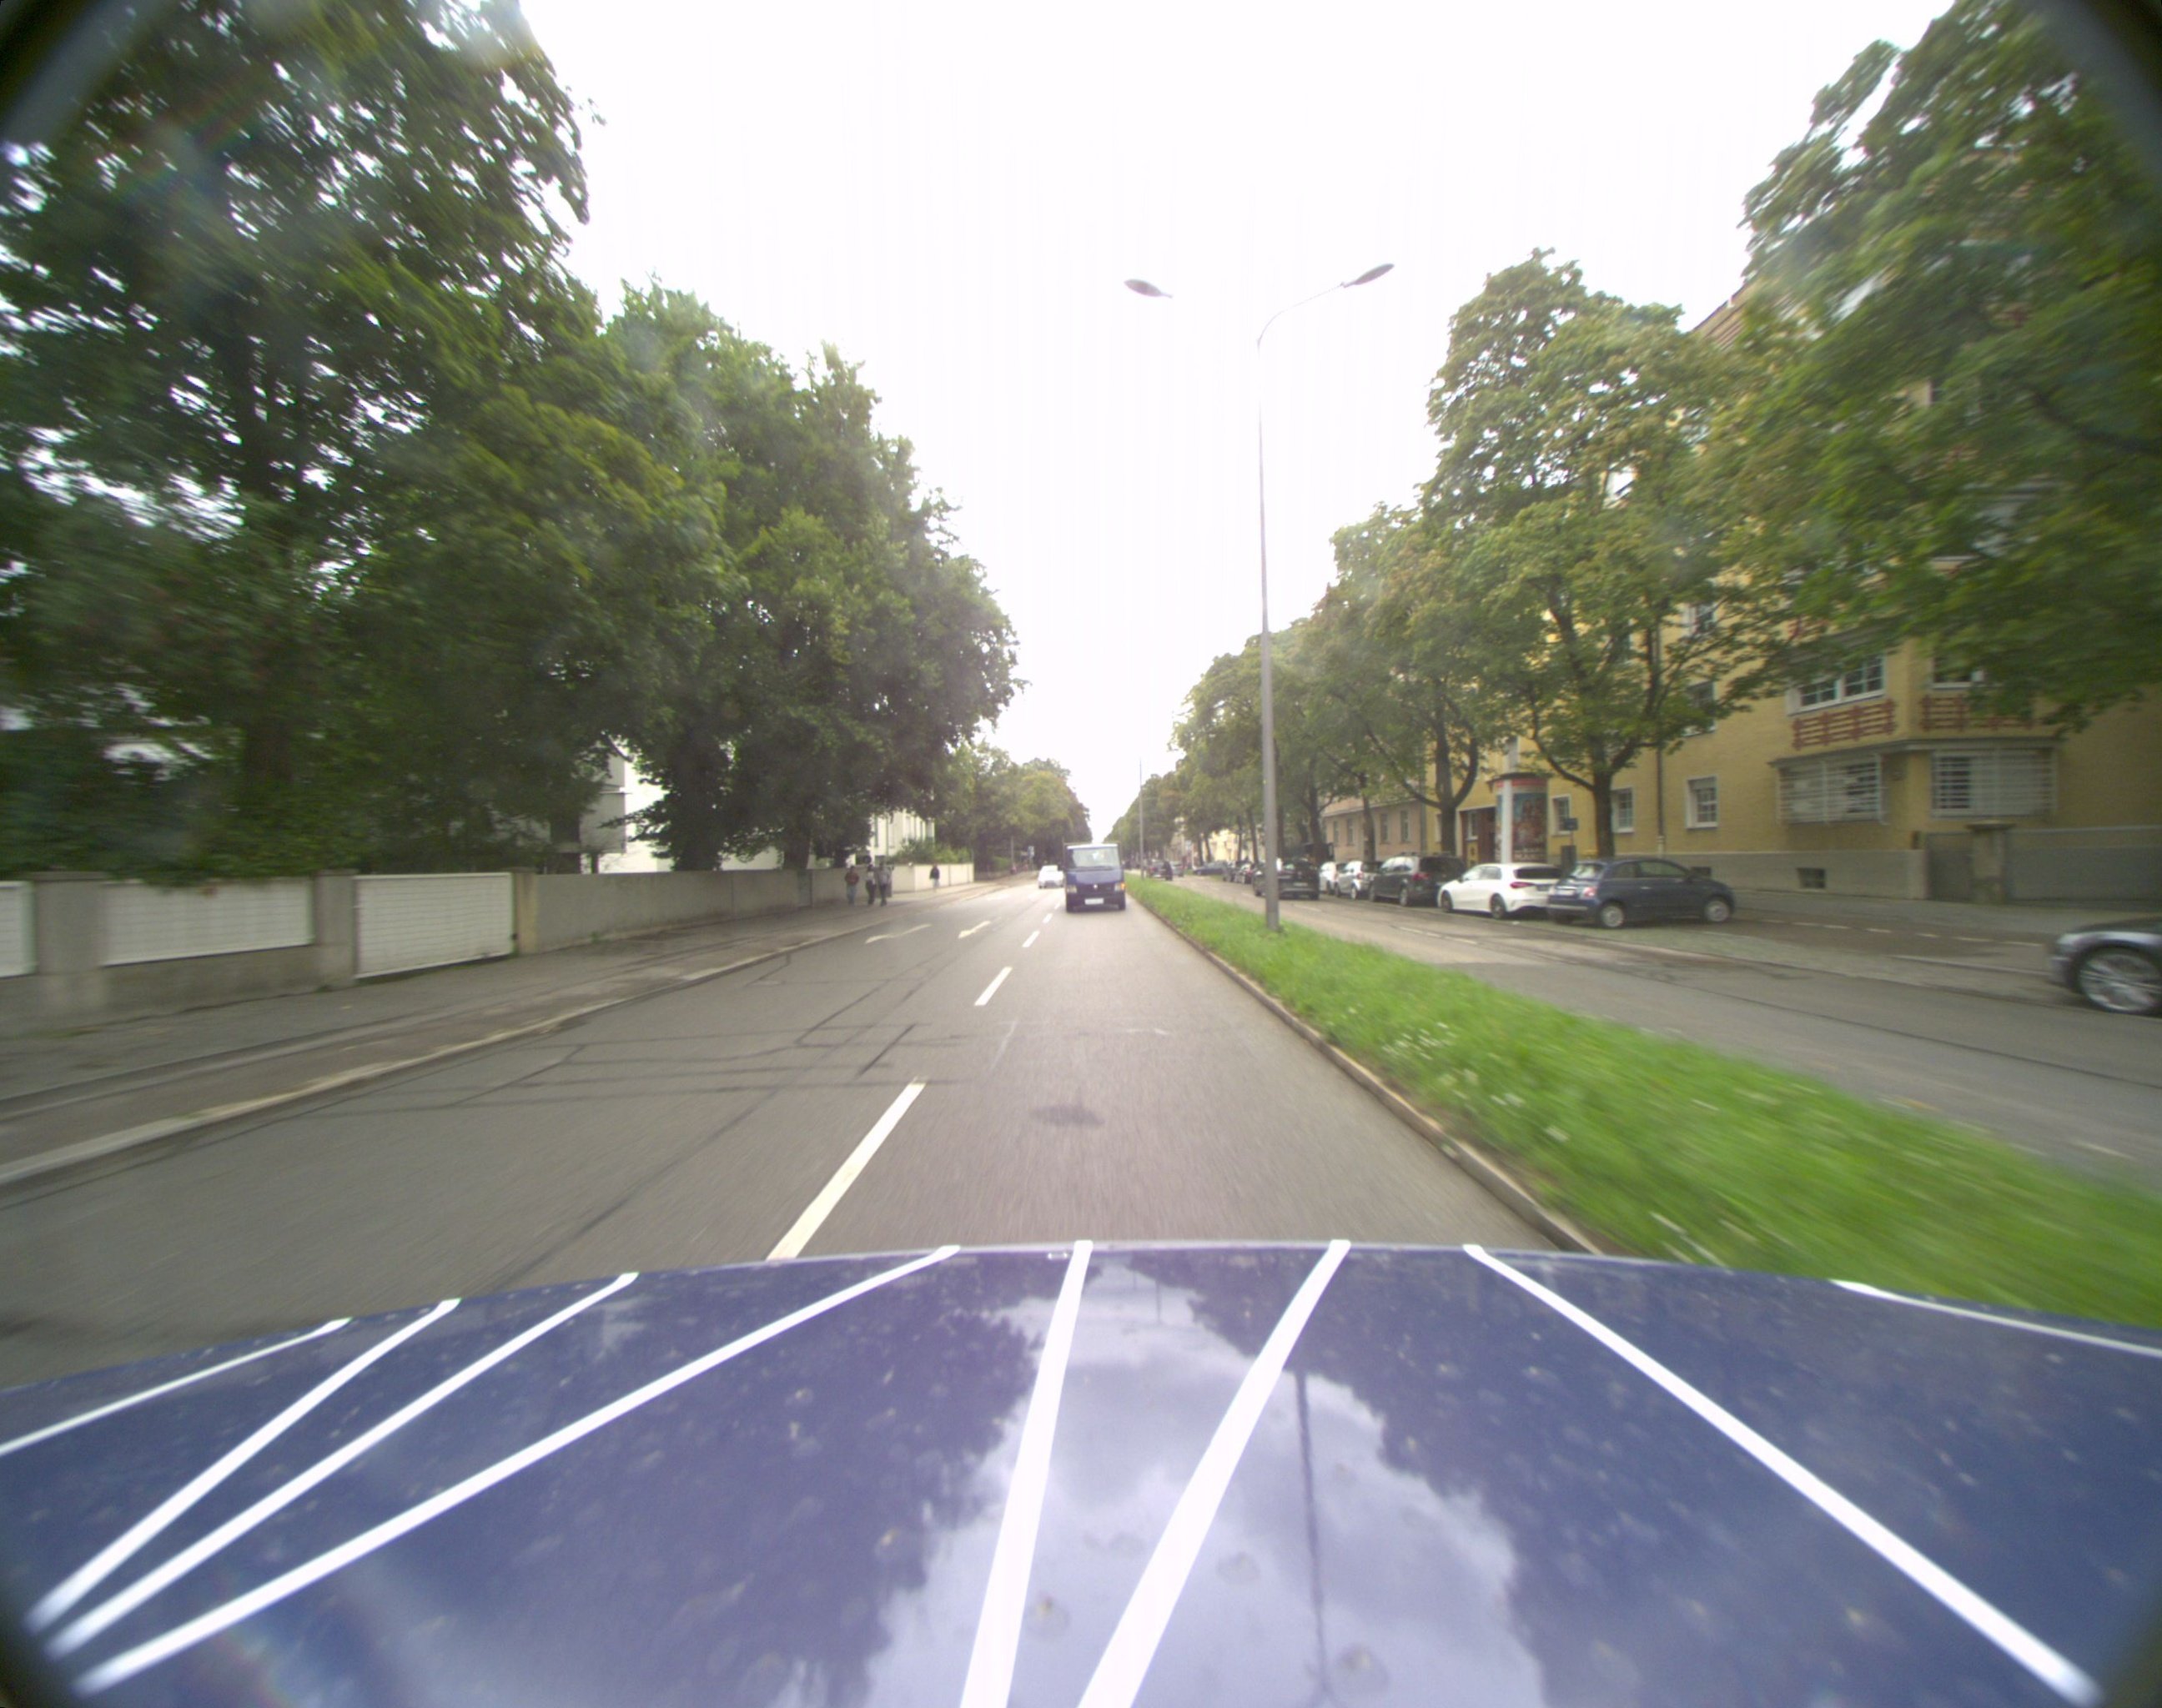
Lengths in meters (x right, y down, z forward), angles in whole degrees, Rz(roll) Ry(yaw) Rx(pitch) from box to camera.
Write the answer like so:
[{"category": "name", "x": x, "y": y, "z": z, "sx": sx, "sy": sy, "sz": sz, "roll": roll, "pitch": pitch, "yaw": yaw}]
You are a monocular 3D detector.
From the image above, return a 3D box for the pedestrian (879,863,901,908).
[{"category": "pedestrian", "x": -7.508, "y": 1.224, "z": 29.886, "sx": 0.668, "sy": 1.712, "sz": 0.729, "roll": 1, "pitch": 0, "yaw": 0}]

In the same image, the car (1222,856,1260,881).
[{"category": "car", "x": 11.734, "y": 1.046, "z": 56.046, "sx": 1.878, "sy": 1.677, "sz": 4.439, "roll": -1, "pitch": 0, "yaw": 1}]

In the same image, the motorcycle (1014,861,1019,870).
[{"category": "motorcycle", "x": -8.204, "y": 1.506, "z": 96.833, "sx": 0.497, "sy": 1.135, "sz": 1.631, "roll": -1, "pitch": 0, "yaw": -9}]

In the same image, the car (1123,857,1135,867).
[{"category": "car", "x": 7.986, "y": 1.330, "z": 125.898, "sx": 1.815, "sy": 1.498, "sz": 4.323, "roll": 1, "pitch": 0, "yaw": 1}]

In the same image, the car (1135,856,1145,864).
[{"category": "car", "x": 12.930, "y": 1.335, "z": 167.012, "sx": 1.872, "sy": 1.827, "sz": 4.000, "roll": -1, "pitch": 0, "yaw": 1}]

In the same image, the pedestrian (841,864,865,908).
[{"category": "pedestrian", "x": -8.987, "y": 1.247, "z": 29.977, "sx": 0.668, "sy": 1.695, "sz": 0.766, "roll": 1, "pitch": 0, "yaw": 0}]

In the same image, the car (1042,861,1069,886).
[{"category": "car", "x": -1.659, "y": 1.285, "z": 50.592, "sx": 1.647, "sy": 1.553, "sz": 3.586, "roll": -1, "pitch": 0, "yaw": 0}]

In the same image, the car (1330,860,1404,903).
[{"category": "car", "x": 11.260, "y": 1.036, "z": 30.072, "sx": 1.731, "sy": 1.548, "sz": 3.010, "roll": -1, "pitch": 0, "yaw": -1}]

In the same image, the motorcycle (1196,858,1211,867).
[{"category": "motorcycle", "x": 16.269, "y": 1.177, "z": 100.876, "sx": 1.954, "sy": 1.142, "sz": 0.597, "roll": -1, "pitch": 0, "yaw": 22}]

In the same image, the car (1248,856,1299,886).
[{"category": "car", "x": 11.358, "y": 0.944, "z": 45.098, "sx": 1.883, "sy": 1.635, "sz": 4.770, "roll": -1, "pitch": 0, "yaw": 1}]

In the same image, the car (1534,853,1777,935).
[{"category": "car", "x": 12.320, "y": 0.828, "z": 16.474, "sx": 3.899, "sy": 1.455, "sz": 1.732, "roll": -3, "pitch": 0, "yaw": 0}]

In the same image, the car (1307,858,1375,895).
[{"category": "car", "x": 11.623, "y": 0.969, "z": 34.253, "sx": 1.731, "sy": 1.552, "sz": 4.057, "roll": -1, "pitch": 0, "yaw": 1}]

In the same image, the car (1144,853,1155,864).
[{"category": "car", "x": 13.331, "y": 0.918, "z": 147.265, "sx": 1.790, "sy": 2.002, "sz": 4.000, "roll": -1, "pitch": 0, "yaw": 1}]

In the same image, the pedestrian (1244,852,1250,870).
[{"category": "pedestrian", "x": 19.105, "y": 0.811, "z": 87.321, "sx": 0.599, "sy": 2.047, "sz": 0.685, "roll": -1, "pitch": 0, "yaw": 20}]

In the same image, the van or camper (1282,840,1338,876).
[{"category": "van or camper", "x": 17.551, "y": 0.305, "z": 58.726, "sx": 2.351, "sy": 2.564, "sz": 6.851, "roll": -2, "pitch": 0, "yaw": 1}]

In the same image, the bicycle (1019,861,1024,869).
[{"category": "bicycle", "x": -8.195, "y": 1.510, "z": 104.355, "sx": 0.490, "sy": 1.092, "sz": 1.631, "roll": -1, "pitch": 0, "yaw": -9}]

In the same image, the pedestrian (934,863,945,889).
[{"category": "pedestrian", "x": -8.451, "y": 1.302, "z": 45.420, "sx": 0.529, "sy": 1.572, "sz": 0.729, "roll": 1, "pitch": 0, "yaw": 0}]

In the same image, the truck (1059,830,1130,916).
[{"category": "truck", "x": 0.446, "y": 0.566, "z": 24.604, "sx": 1.998, "sy": 2.475, "sz": 5.151, "roll": -1, "pitch": 0, "yaw": 1}]

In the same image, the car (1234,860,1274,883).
[{"category": "car", "x": 11.503, "y": 1.138, "z": 50.861, "sx": 1.696, "sy": 1.446, "sz": 4.493, "roll": -1, "pitch": 0, "yaw": 1}]

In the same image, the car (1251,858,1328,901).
[{"category": "car", "x": 8.211, "y": 0.956, "z": 30.315, "sx": 1.880, "sy": 1.575, "sz": 4.621, "roll": 1, "pitch": 0, "yaw": 1}]

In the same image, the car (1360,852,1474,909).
[{"category": "car", "x": 11.202, "y": 0.831, "z": 25.718, "sx": 1.815, "sy": 1.717, "sz": 4.767, "roll": -1, "pitch": 0, "yaw": 1}]

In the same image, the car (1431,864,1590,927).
[{"category": "car", "x": 11.053, "y": 1.004, "z": 19.958, "sx": 1.731, "sy": 1.394, "sz": 4.404, "roll": -1, "pitch": 0, "yaw": 1}]

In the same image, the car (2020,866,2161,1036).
[{"category": "car", "x": 10.736, "y": 0.882, "z": 5.641, "sx": 1.815, "sy": 1.498, "sz": 4.646, "roll": -1, "pitch": 0, "yaw": 1}]

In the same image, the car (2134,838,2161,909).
[{"category": "car", "x": 24.786, "y": 0.361, "z": 15.597, "sx": 3.899, "sy": 1.501, "sz": 1.758, "roll": -1, "pitch": 0, "yaw": 0}]

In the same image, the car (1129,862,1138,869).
[{"category": "car", "x": 13.393, "y": 2.876, "z": 193.729, "sx": 1.872, "sy": 1.827, "sz": 4.000, "roll": -1, "pitch": 0, "yaw": 1}]

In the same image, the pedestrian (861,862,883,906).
[{"category": "pedestrian", "x": -8.221, "y": 1.165, "z": 29.930, "sx": 0.668, "sy": 1.683, "sz": 0.729, "roll": 1, "pitch": 0, "yaw": 0}]

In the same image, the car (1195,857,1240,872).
[{"category": "car", "x": 13.484, "y": 1.062, "z": 75.188, "sx": 3.990, "sy": 1.367, "sz": 1.865, "roll": -2, "pitch": -1, "yaw": 24}]

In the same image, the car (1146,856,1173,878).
[{"category": "car", "x": 6.160, "y": 1.023, "z": 60.018, "sx": 1.774, "sy": 1.669, "sz": 4.369, "roll": 0, "pitch": 0, "yaw": 1}]
